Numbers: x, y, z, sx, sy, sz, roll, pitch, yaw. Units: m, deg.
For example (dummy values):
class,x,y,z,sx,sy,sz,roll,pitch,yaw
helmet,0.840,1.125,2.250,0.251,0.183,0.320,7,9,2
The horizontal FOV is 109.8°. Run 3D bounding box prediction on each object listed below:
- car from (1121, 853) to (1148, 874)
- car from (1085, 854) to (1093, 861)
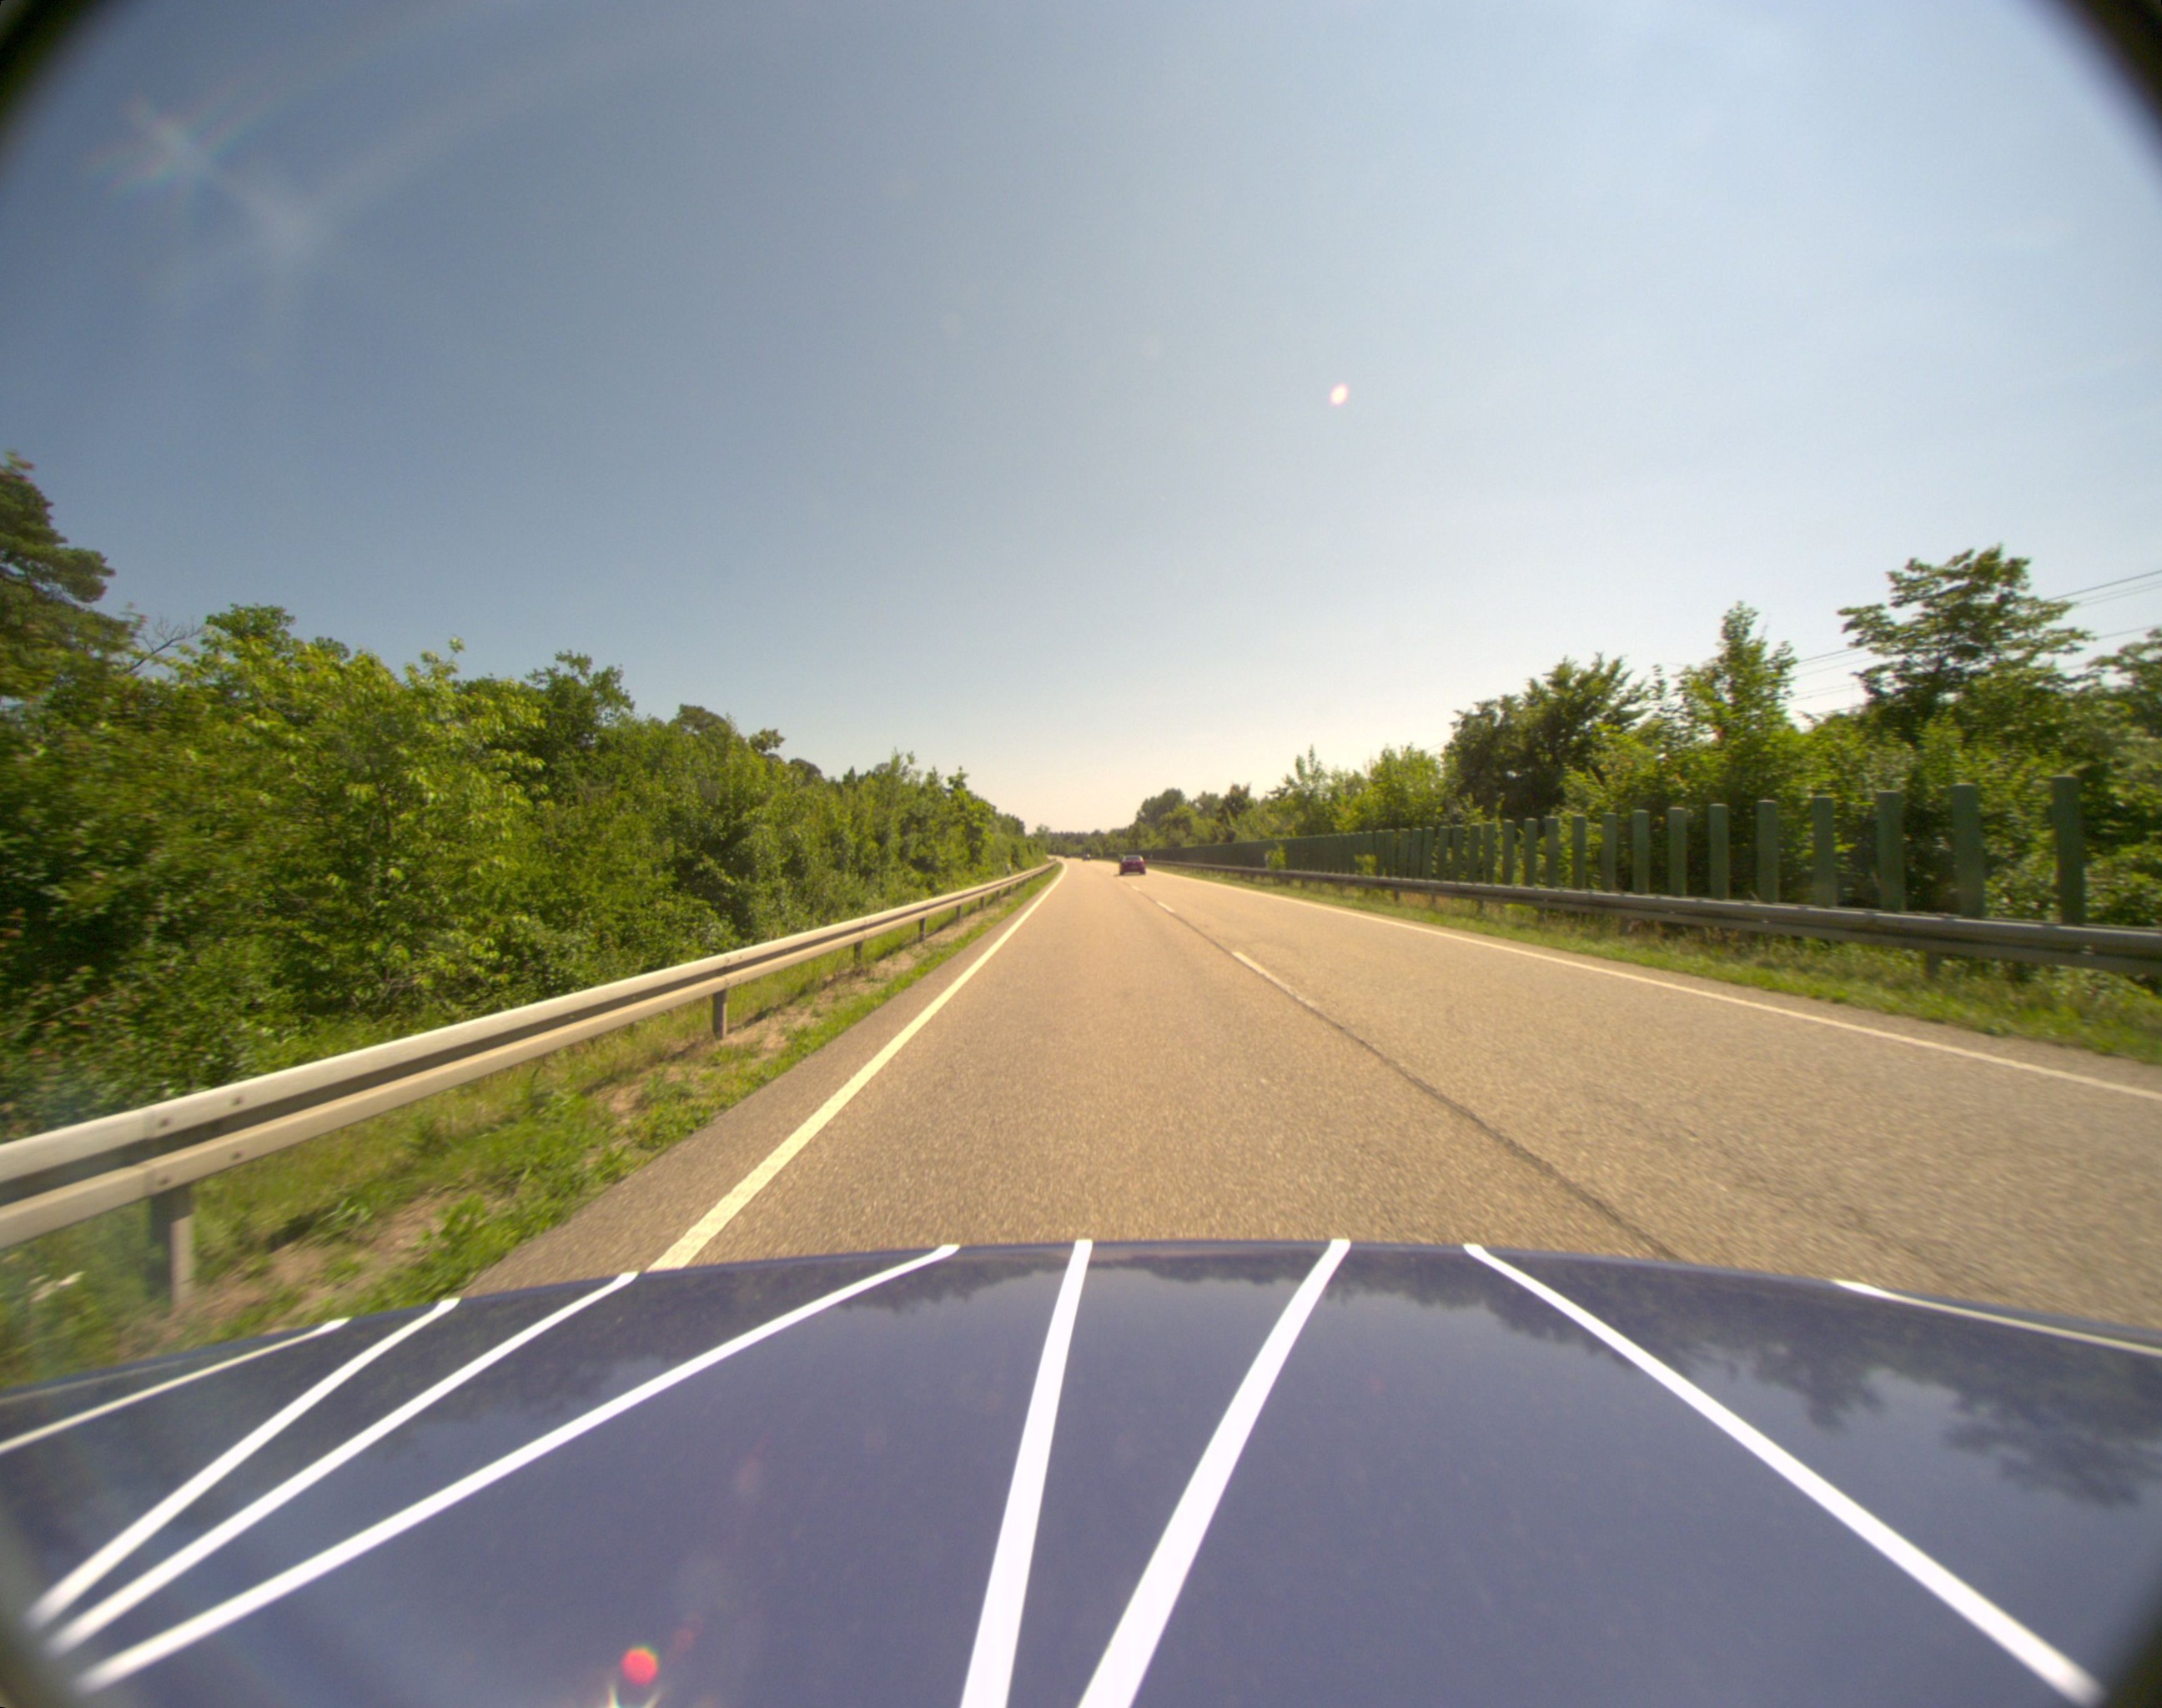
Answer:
class,x,y,z,sx,sy,sz,roll,pitch,yaw
car,3.850,0.692,54.782,1.791,1.364,3.897,-2,1,2
car,1.752,0.687,170.630,1.653,1.470,3.676,-2,0,-1
